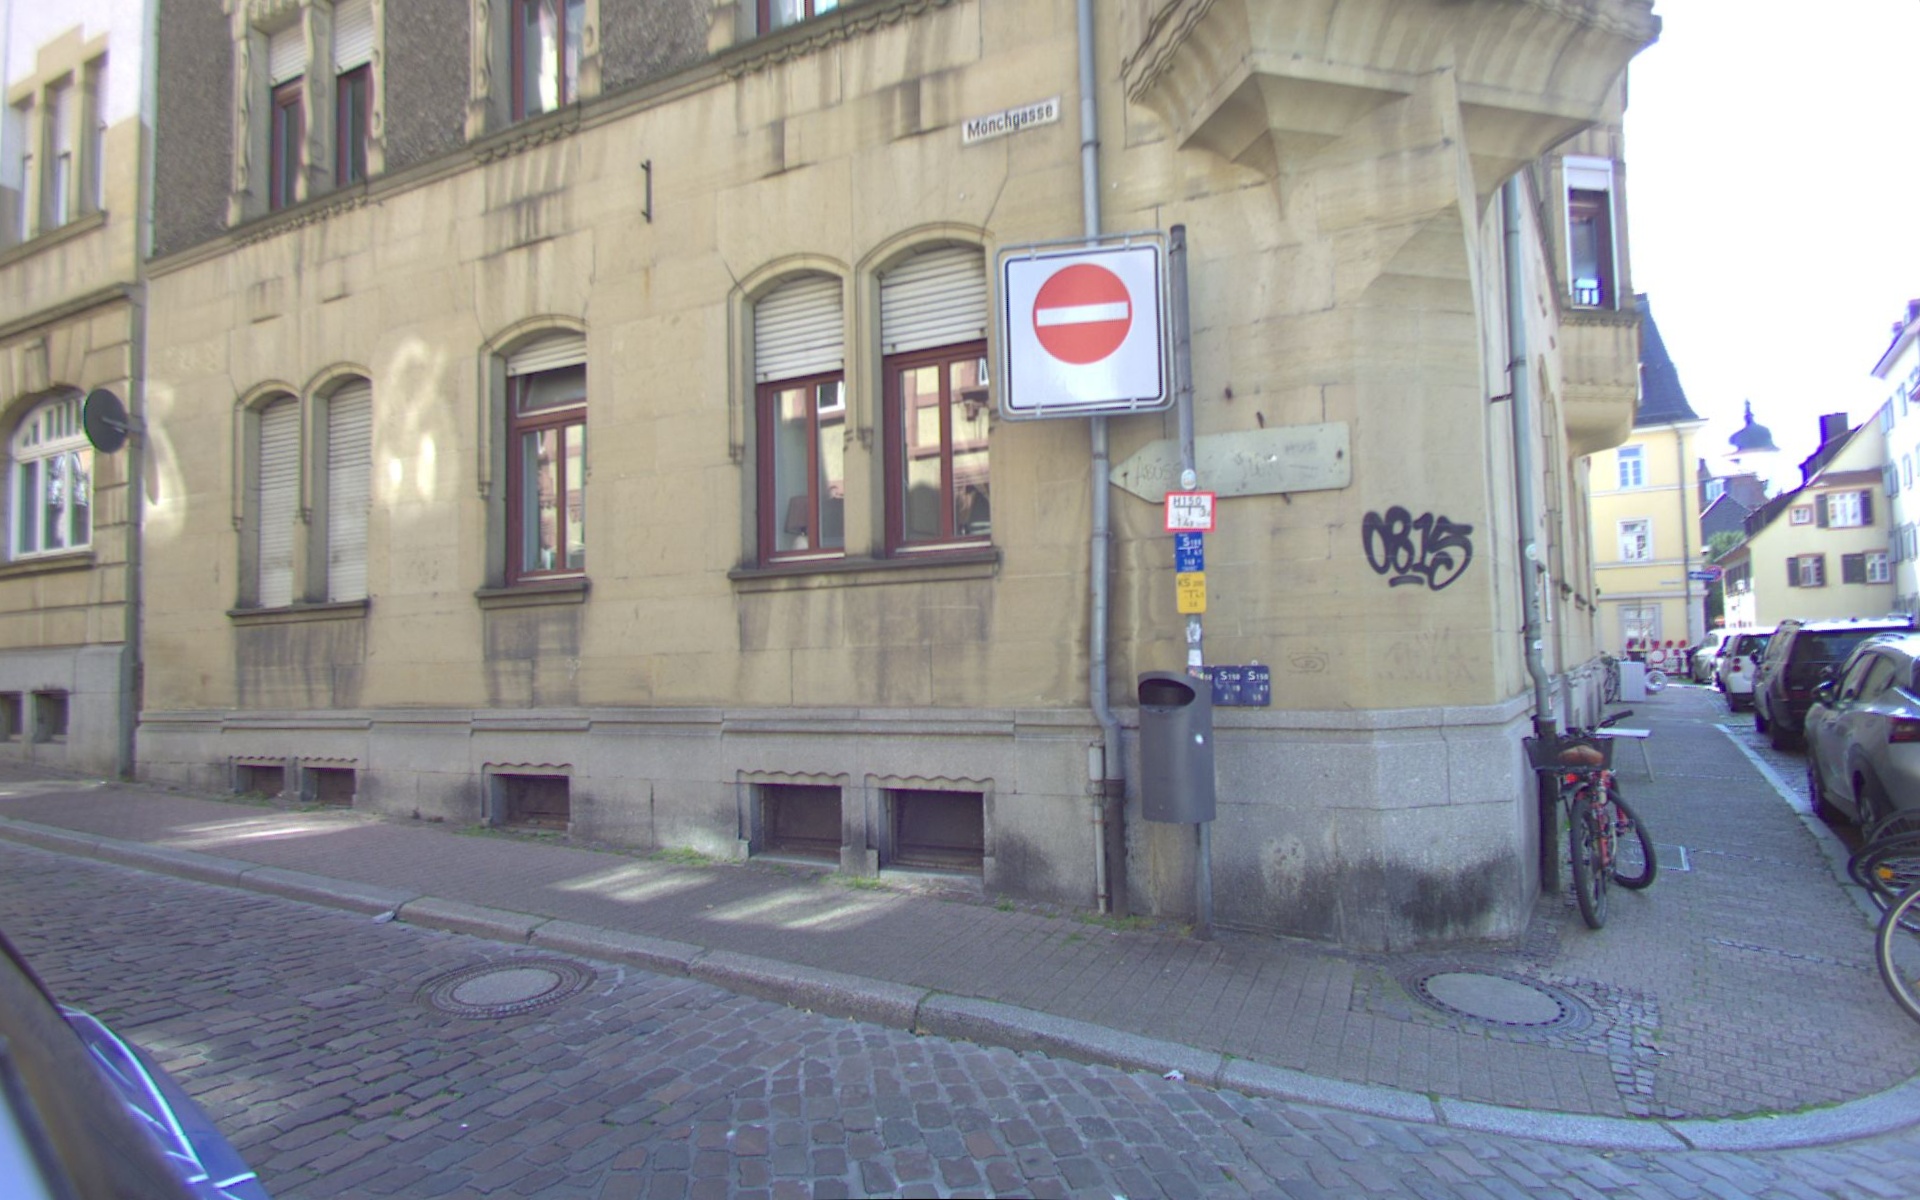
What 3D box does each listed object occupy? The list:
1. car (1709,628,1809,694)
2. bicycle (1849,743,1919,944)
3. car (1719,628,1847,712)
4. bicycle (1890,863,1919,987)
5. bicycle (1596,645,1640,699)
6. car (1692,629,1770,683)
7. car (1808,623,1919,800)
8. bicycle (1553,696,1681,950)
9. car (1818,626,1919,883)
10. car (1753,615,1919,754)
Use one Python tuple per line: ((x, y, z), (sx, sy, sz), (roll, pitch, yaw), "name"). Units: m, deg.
((19.740, 1.458, 25.124), (1.659, 1.454, 4.022), (-2, -2, 35), "car")
((4.978, 1.096, 4.283), (1.632, 1.081, 0.287), (-2, 41, 24), "bicycle")
((16.267, 1.317, 20.167), (1.659, 1.454, 3.815), (-2, -2, 35), "car")
((4.769, 1.148, 3.834), (1.632, 1.081, 0.287), (-2, 41, 24), "bicycle")
((14.406, 1.557, 22.148), (0.483, 1.107, 1.583), (-3, -3, 43), "bicycle")
((22.937, 1.623, 30.209), (1.659, 1.454, 3.815), (-2, -2, 35), "car")
((10.244, 1.032, 10.488), (1.849, 1.556, 3.952), (-2, -2, 35), "car")
((3.648, 1.132, 5.600), (0.495, 1.094, 1.623), (2, -1, 34), "bicycle")
((7.424, 0.944, 6.936), (1.848, 1.556, 3.883), (-3, -4, 34), "car")
((12.178, 1.061, 14.021), (1.564, 1.648, 3.816), (-2, -2, 34), "car")
